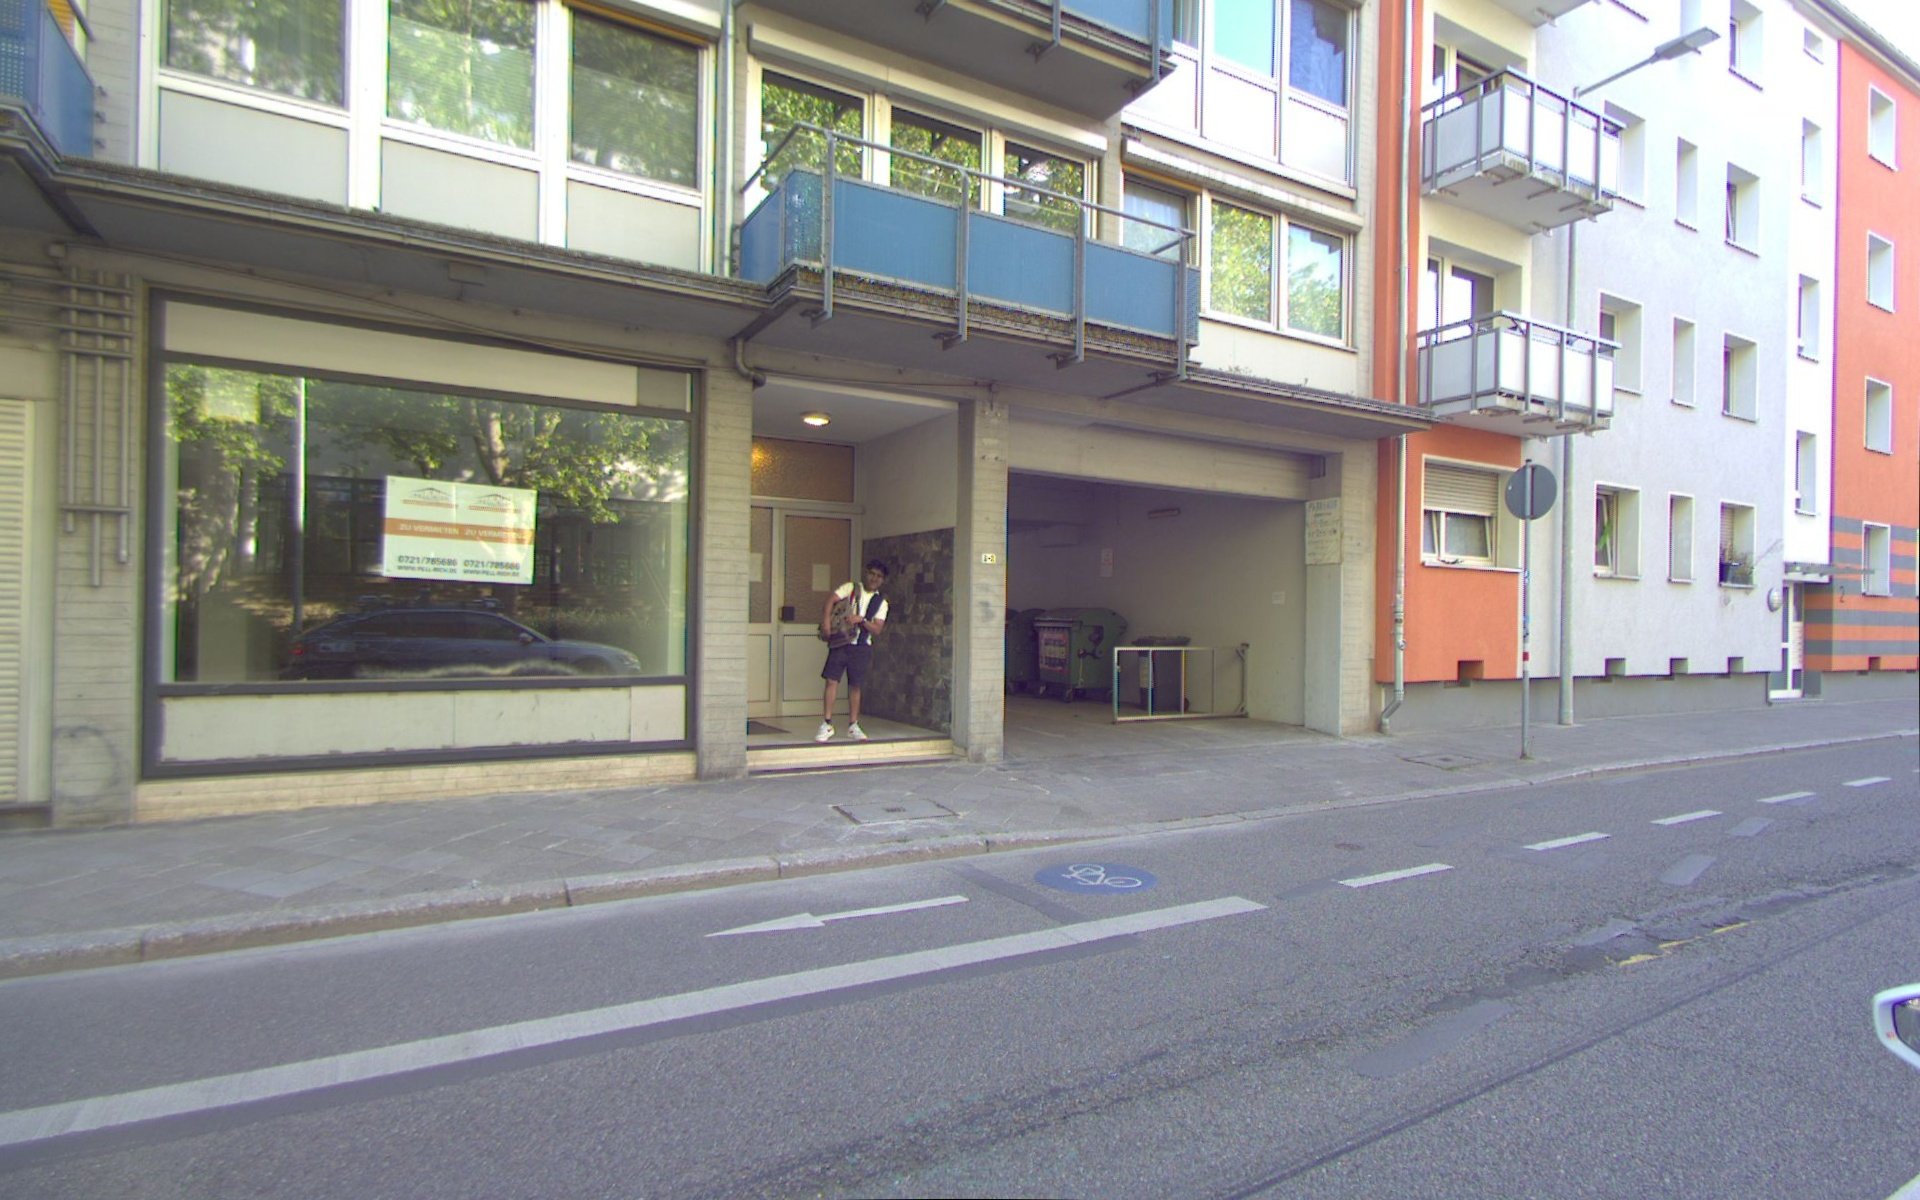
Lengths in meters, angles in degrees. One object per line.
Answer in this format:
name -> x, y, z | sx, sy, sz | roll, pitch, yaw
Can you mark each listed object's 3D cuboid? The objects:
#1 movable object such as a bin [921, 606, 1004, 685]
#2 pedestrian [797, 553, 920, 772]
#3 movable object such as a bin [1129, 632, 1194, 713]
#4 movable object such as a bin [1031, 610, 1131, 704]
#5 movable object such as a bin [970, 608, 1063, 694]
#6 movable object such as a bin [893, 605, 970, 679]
movable object such as a bin -> 0.041, 0.828, 18.698 | 1.066, 1.384, 1.255 | 2, 0, -27
pedestrian -> -0.944, 0.555, 9.257 | 0.882, 1.902, 0.703 | 2, 0, -28
movable object such as a bin -> 2.894, 1.029, 14.464 | 0.650, 1.115, 0.626 | 2, 0, -27
movable object such as a bin -> 1.894, 0.870, 15.814 | 1.066, 1.384, 1.192 | 2, 0, -27
movable object such as a bin -> 0.952, 0.848, 17.129 | 1.066, 1.384, 1.255 | 2, 0, -27
movable object such as a bin -> -0.567, 0.815, 19.867 | 1.066, 1.384, 1.255 | 2, 0, -27
